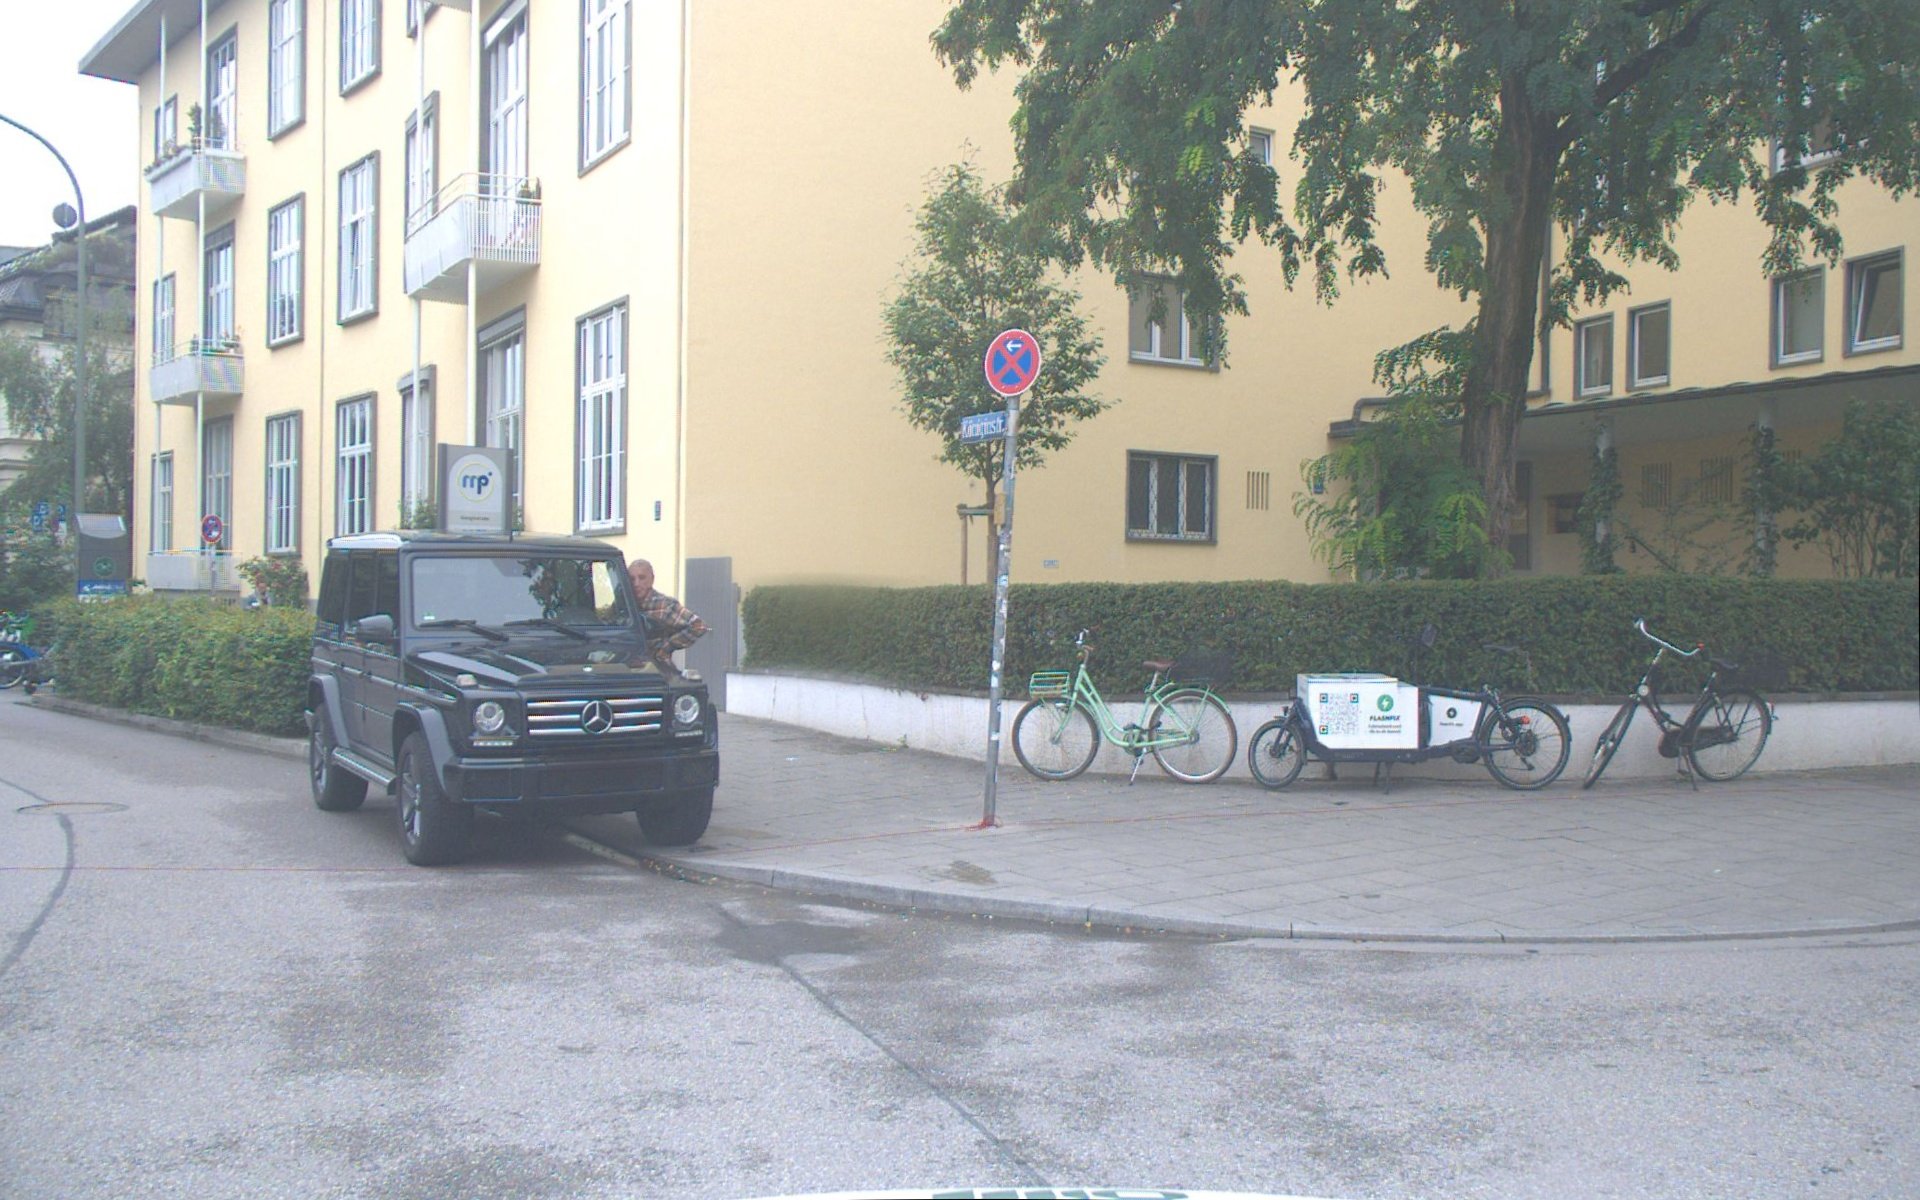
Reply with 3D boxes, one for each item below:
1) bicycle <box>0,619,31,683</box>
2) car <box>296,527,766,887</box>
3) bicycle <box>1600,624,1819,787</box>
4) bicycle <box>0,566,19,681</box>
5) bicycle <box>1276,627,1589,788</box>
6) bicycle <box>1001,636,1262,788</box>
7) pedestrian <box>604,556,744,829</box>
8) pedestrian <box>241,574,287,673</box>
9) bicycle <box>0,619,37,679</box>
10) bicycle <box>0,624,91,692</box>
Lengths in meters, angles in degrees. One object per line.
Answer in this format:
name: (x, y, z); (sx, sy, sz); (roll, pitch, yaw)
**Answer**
bicycle: (-16.294, 0.862, 28.141); (0.359, 1.032, 1.534); (-1, 1, -10)
car: (-3.131, 0.552, 11.291); (1.855, 1.920, 4.568); (0, 0, -32)
bicycle: (5.619, 0.766, 12.391); (1.657, 1.150, 0.457); (0, 0, -20)
bicycle: (-17.504, 0.424, 29.139); (0.446, 2.049, 1.677); (0, 1, 22)
bicycle: (3.444, 0.772, 12.148); (2.124, 1.135, 0.640); (0, 0, -2)
bicycle: (1.304, 0.851, 12.721); (1.905, 1.103, 0.528); (-2, -1, 24)
pedestrian: (-1.989, 0.601, 11.424); (0.835, 1.788, 0.949); (0, 0, -17)
pedestrian: (-12.304, 0.403, 29.230); (0.625, 1.713, 0.690); (-1, 1, -32)
bicycle: (-17.031, 0.878, 29.012); (0.359, 1.032, 1.536); (0, 1, 26)
bicycle: (-14.959, 0.937, 26.772); (1.526, 1.032, 0.361); (-2, 1, -45)
